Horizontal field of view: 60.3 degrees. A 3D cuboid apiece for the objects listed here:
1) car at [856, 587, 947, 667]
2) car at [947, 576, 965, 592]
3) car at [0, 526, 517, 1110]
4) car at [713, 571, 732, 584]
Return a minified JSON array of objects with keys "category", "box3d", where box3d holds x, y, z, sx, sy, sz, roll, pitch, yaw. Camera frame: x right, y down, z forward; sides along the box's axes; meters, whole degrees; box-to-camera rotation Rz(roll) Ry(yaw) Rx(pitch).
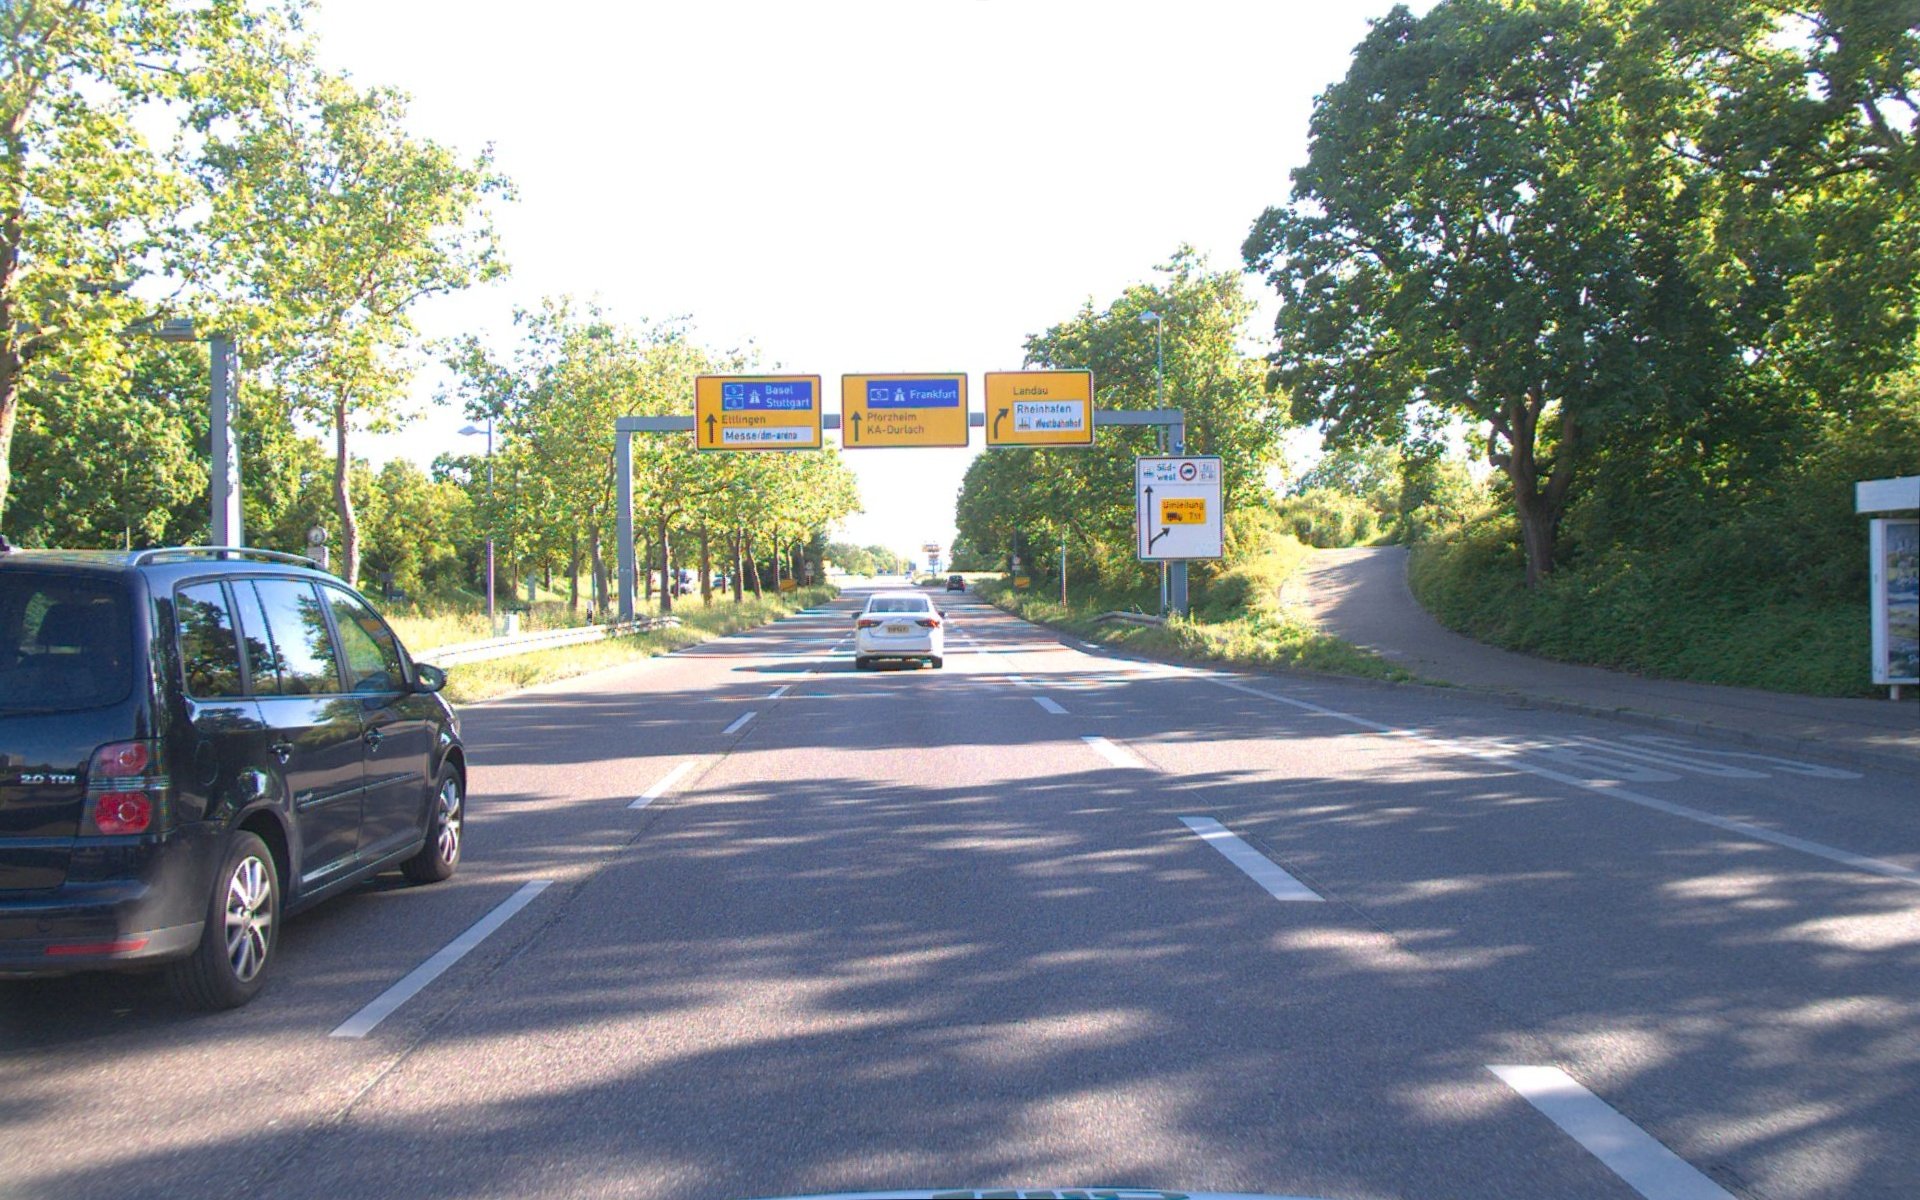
[{"category":"car","box3d":[-1.211,0.510,34.118,1.732,1.489,4.364,-1,1,-2]},{"category":"car","box3d":[-0.424,-1.560,162.763,1.731,1.489,4.366,-1,1,0]},{"category":"car","box3d":[-3.391,0.613,7.174,1.732,1.673,4.922,0,0,-2]},{"category":"car","box3d":[-27.957,-2.629,194.750,1.732,1.489,4.365,-1,1,-2]}]
